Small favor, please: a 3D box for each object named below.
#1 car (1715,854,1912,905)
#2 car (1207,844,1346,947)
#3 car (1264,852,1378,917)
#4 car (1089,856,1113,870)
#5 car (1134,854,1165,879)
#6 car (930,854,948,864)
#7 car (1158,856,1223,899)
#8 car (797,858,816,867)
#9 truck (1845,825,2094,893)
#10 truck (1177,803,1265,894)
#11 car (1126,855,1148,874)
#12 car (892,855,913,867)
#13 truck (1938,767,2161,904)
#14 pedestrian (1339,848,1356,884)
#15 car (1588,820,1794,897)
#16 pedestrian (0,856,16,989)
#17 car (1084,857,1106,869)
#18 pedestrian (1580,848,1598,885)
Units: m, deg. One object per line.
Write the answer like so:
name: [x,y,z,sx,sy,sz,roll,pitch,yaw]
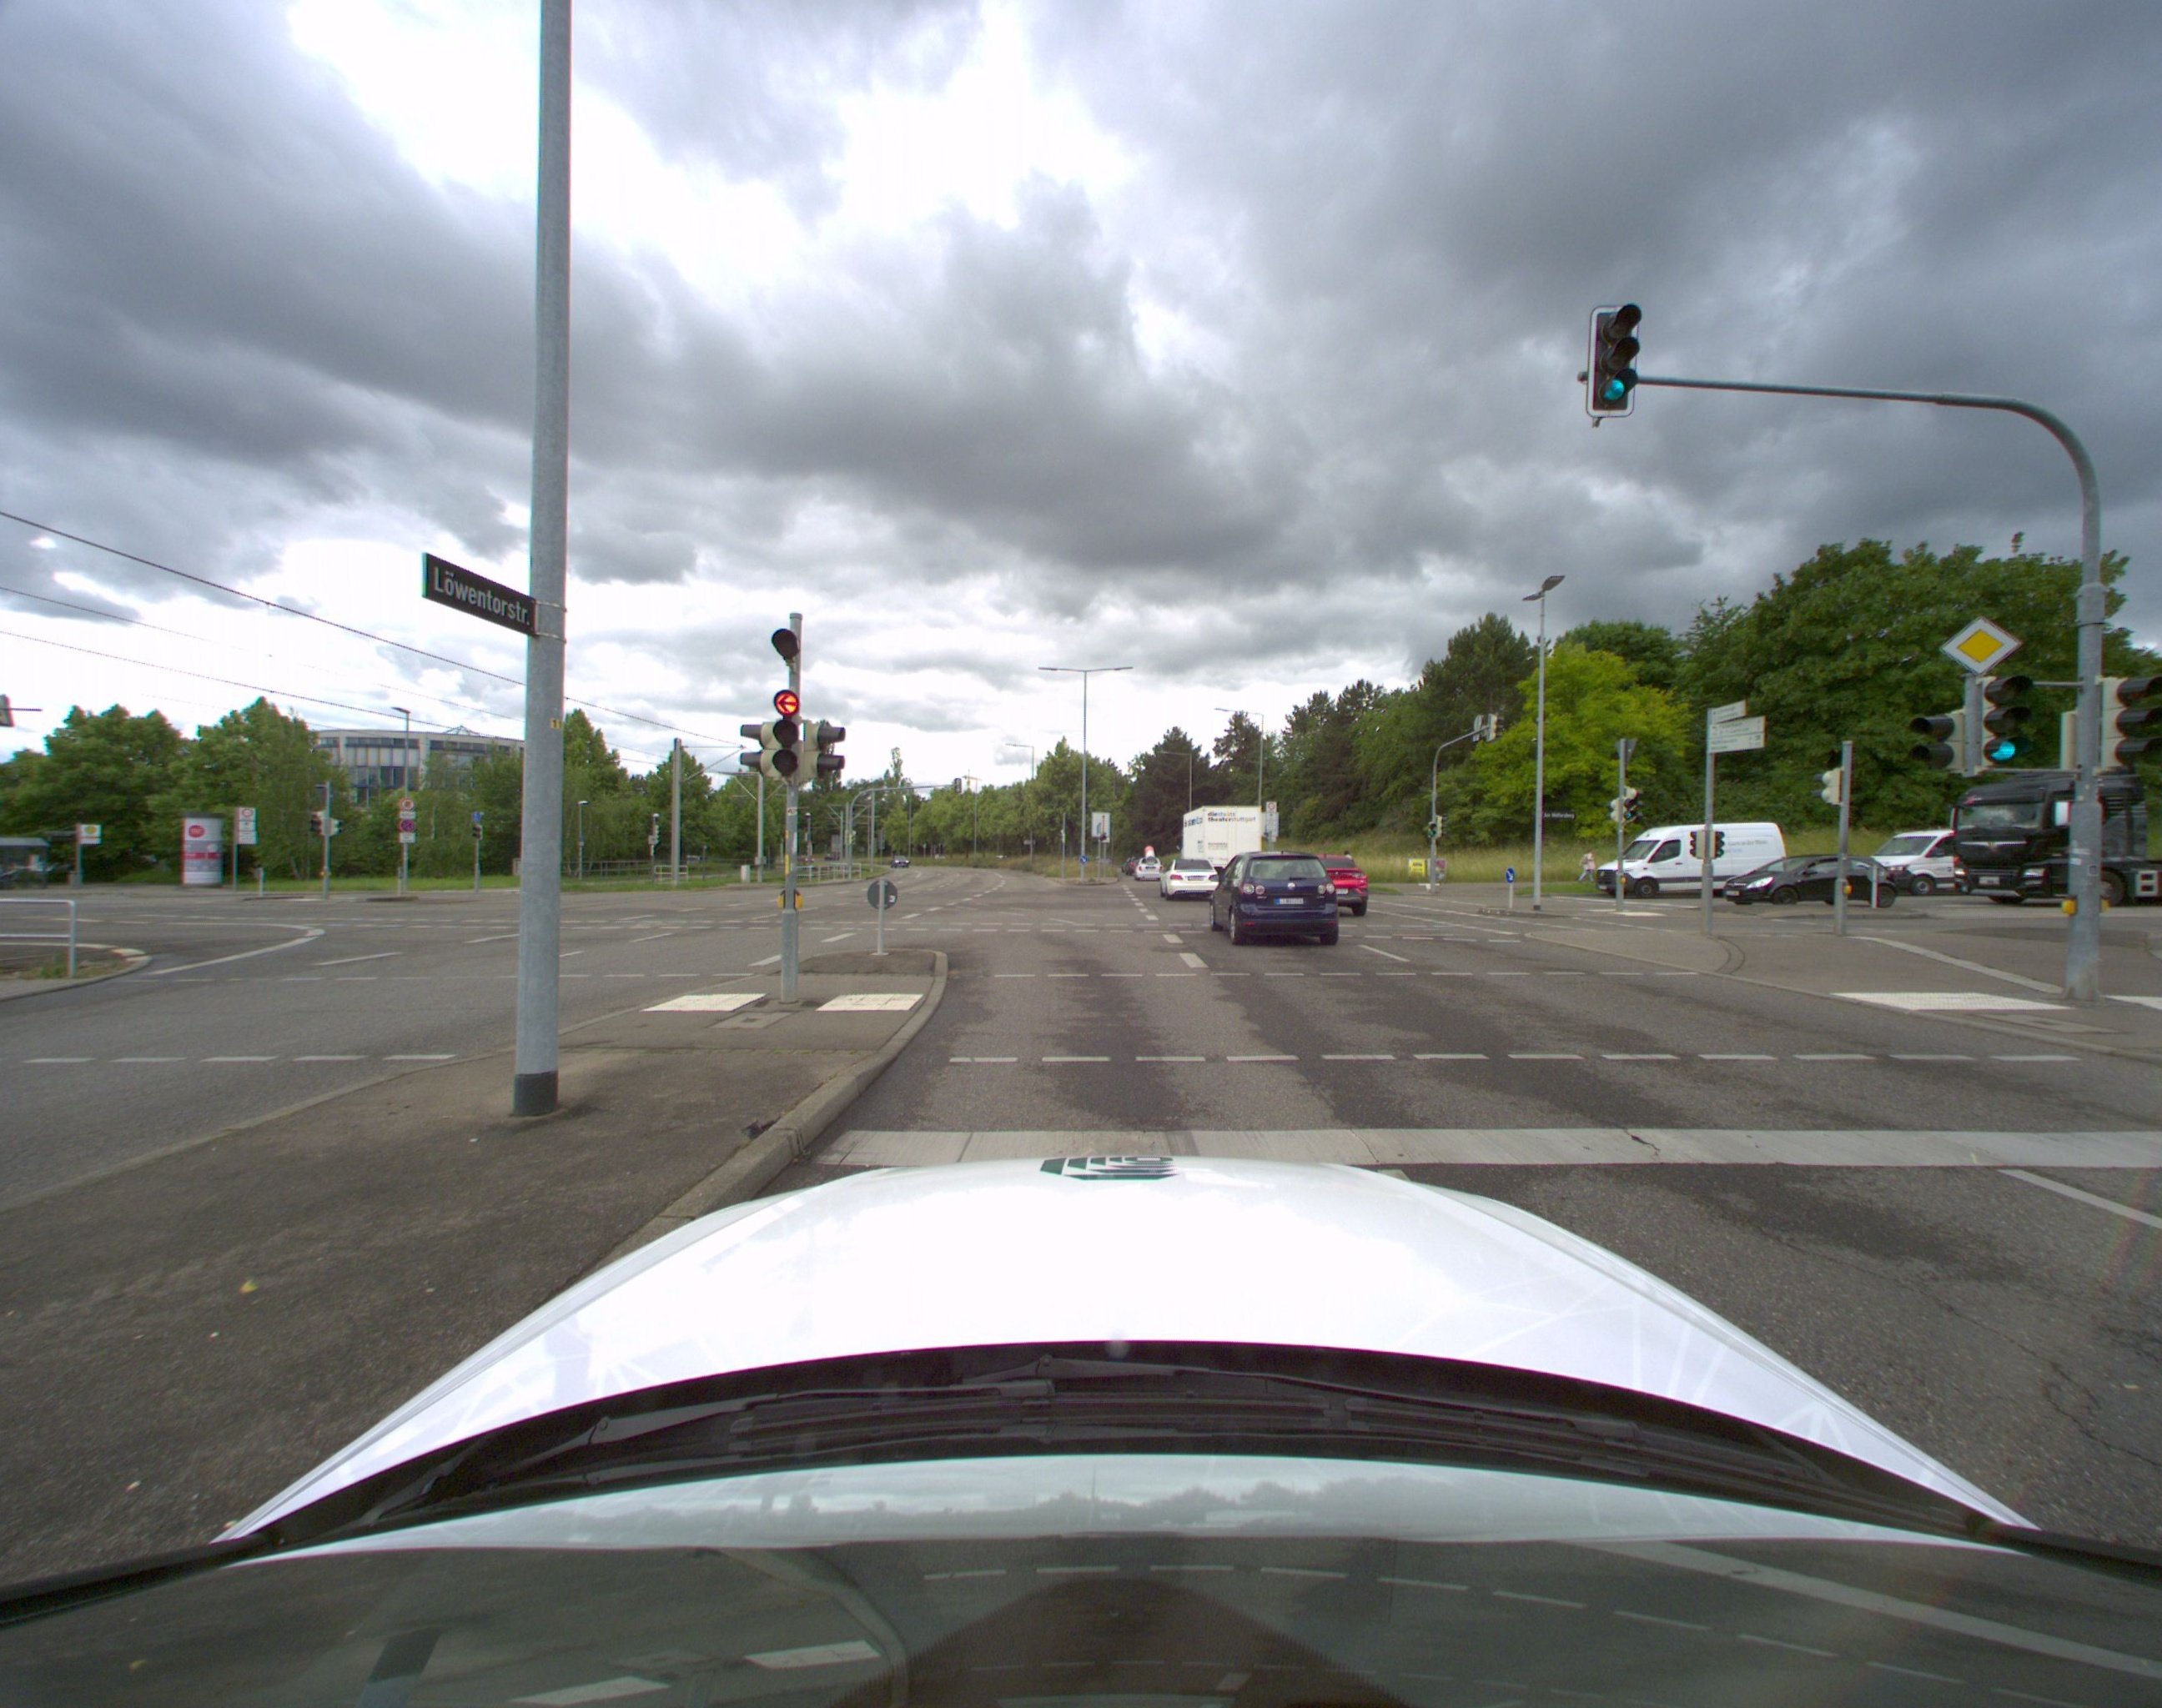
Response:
car: [20.303,0.699,22.707,3.859,1.338,1.698,0,-1,4]
car: [3.374,0.669,14.773,1.658,1.598,3.997,0,-1,1]
car: [6.215,0.714,21.585,1.840,1.530,4.378,0,0,2]
car: [2.143,1.009,89.089,1.748,1.508,4.030,0,0,-12]
car: [4.246,0.784,50.949,1.814,1.506,3.496,0,-1,2]
car: [-25.160,0.864,144.463,1.640,1.711,3.761,0,-1,-38]
car: [3.858,0.797,29.260,1.794,1.412,4.317,0,-1,0]
car: [-51.467,1.619,152.702,1.887,1.791,3.952,0,-1,-42]
truck: [30.963,0.188,28.576,5.992,2.230,2.165,0,-1,5]
truck: [6.673,-0.272,40.349,2.793,3.903,10.184,0,0,1]
car: [4.595,0.867,67.096,1.618,1.493,3.838,0,0,1]
car: [-23.885,0.913,108.875,1.804,1.587,3.967,0,-1,-25]
truck: [27.998,-0.497,22.295,5.971,3.486,2.694,-1,-1,4]
pedestrian: [12.609,0.556,38.487,0.640,1.662,0.715,0,-1,8]
car: [21.867,0.164,29.384,5.780,2.630,2.002,0,-1,3]
pedestrian: [-12.781,0.794,9.160,0.632,1.536,0.719,0,-1,-2]
car: [1.709,1.082,101.149,1.749,1.508,3.980,0,0,-15]
pedestrian: [22.127,0.532,35.476,0.638,1.612,0.718,-1,-1,29]
